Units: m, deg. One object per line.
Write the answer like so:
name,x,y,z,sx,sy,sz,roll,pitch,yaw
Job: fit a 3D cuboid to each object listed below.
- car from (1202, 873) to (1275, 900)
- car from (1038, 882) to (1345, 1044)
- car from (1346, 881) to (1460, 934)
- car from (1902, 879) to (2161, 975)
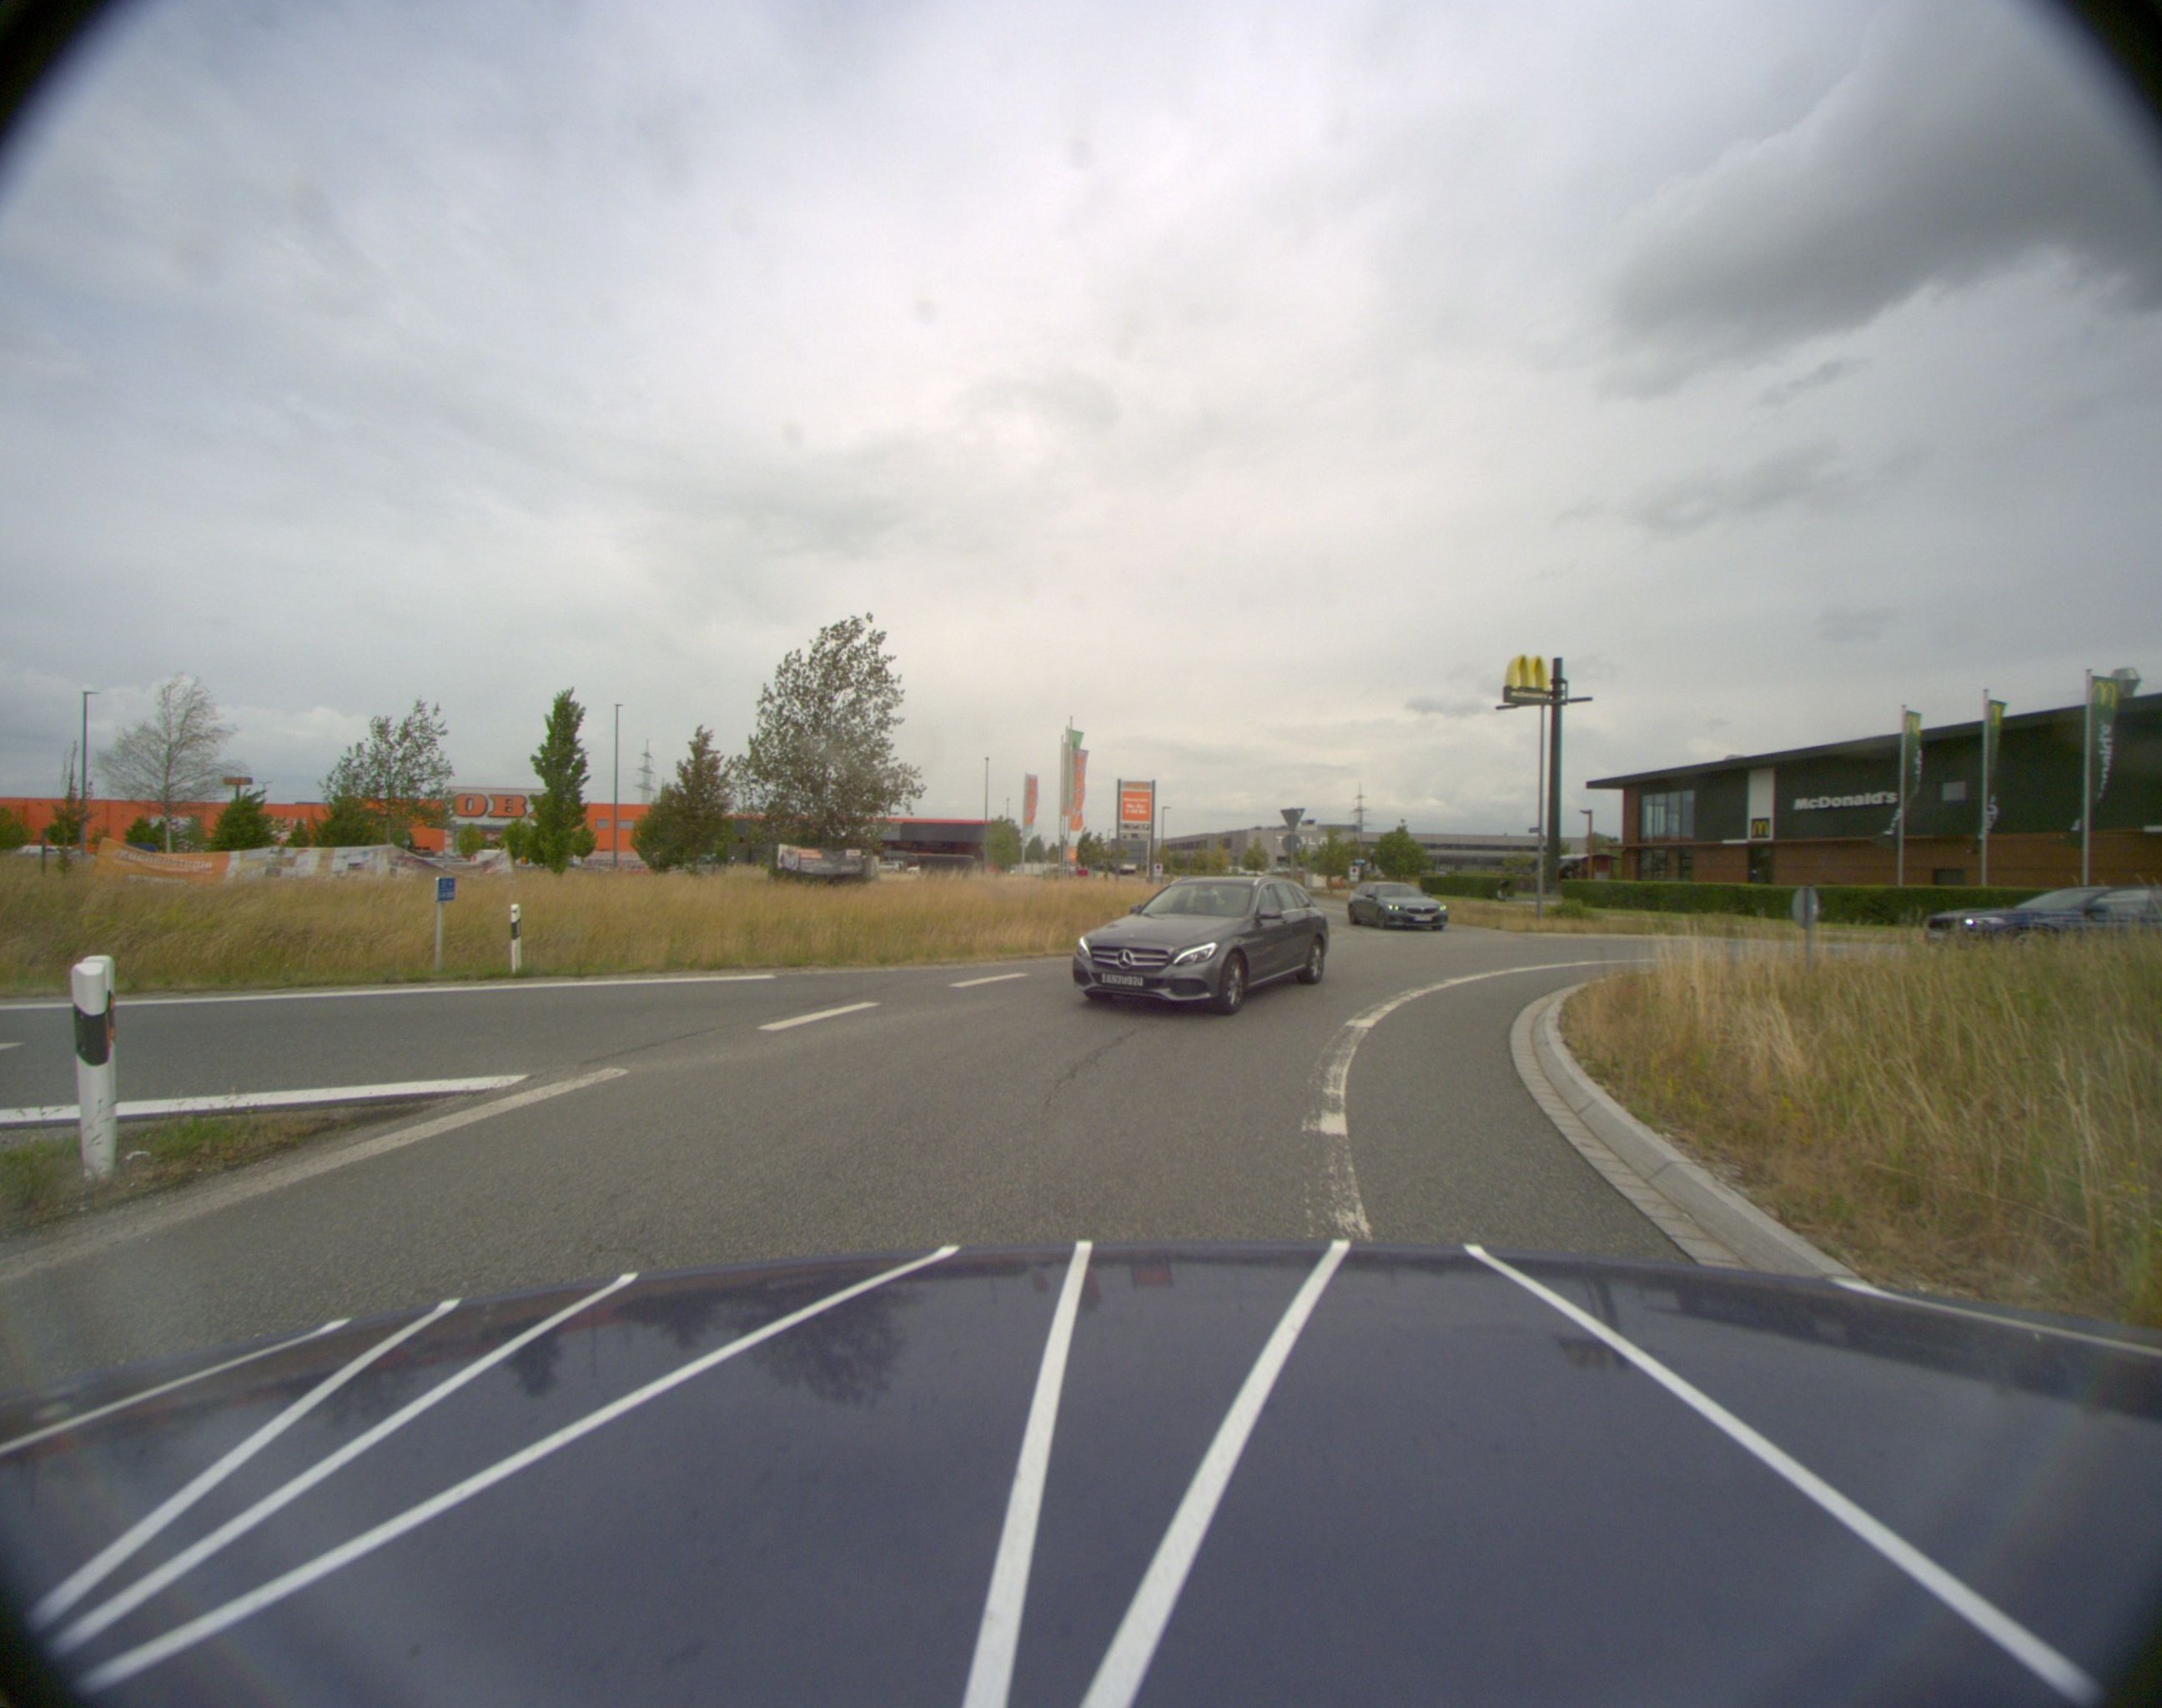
car,9.808,2.000,47.703,1.831,1.390,4.723,0,1,-30
car,1.599,1.108,9.378,1.902,1.488,4.349,-2,-3,36
car,10.470,1.694,25.093,1.997,1.495,4.308,0,-1,1
car,19.924,1.460,15.460,3.993,1.709,1.846,-2,0,13
